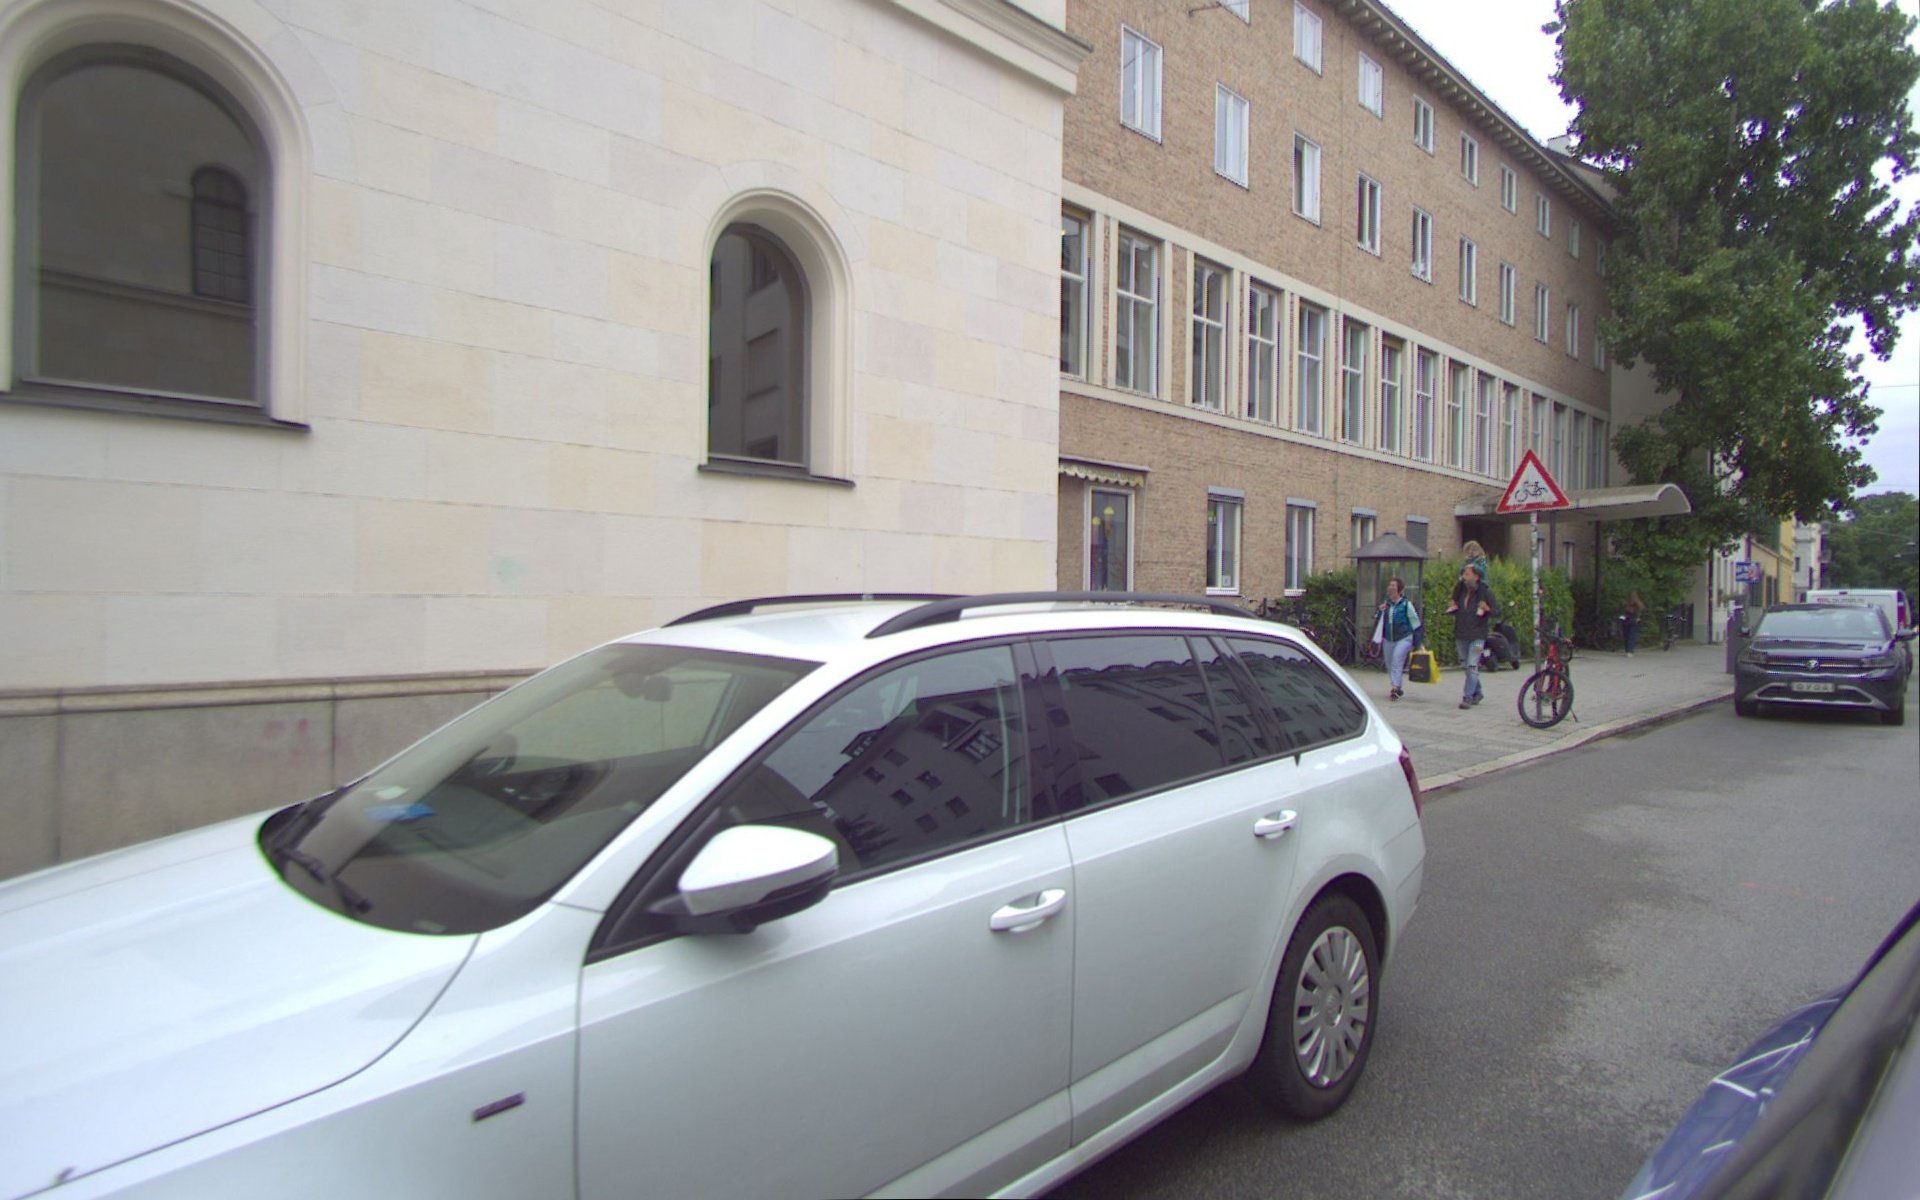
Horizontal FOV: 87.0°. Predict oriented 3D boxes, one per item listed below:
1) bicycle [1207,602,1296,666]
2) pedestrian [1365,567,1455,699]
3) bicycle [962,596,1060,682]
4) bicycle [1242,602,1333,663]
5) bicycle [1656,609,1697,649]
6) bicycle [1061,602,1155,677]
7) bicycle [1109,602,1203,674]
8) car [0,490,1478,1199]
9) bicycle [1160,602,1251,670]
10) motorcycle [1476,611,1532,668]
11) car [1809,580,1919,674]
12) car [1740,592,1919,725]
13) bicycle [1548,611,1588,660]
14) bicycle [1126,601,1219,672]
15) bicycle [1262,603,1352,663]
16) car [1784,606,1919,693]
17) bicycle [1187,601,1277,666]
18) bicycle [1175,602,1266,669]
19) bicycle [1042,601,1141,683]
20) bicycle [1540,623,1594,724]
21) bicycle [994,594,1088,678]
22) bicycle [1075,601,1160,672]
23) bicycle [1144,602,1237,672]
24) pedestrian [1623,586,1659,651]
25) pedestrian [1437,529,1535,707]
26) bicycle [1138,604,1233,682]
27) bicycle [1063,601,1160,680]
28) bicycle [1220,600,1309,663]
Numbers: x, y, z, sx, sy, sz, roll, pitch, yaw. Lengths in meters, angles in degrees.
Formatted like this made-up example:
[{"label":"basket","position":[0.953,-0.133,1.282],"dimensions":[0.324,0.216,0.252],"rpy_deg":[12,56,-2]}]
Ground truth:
[{"label":"bicycle","position":[5.275,0.599,18.391],"dimensions":[0.342,1.055,1.634],"rpy_deg":[1,1,-38]},{"label":"pedestrian","position":[6.123,0.426,13.781],"dimensions":[0.737,1.714,0.860],"rpy_deg":[1,0,-37]},{"label":"bicycle","position":[0.667,0.504,13.753],"dimensions":[0.342,1.055,1.634],"rpy_deg":[1,1,-37]},{"label":"bicycle","position":[6.165,0.587,19.098],"dimensions":[0.343,1.055,1.631],"rpy_deg":[1,1,-44]},{"label":"bicycle","position":[20.414,0.799,28.810],"dimensions":[0.670,1.087,2.189],"rpy_deg":[1,0,43]},{"label":"bicycle","position":[2.283,0.588,15.756],"dimensions":[0.342,1.055,1.634],"rpy_deg":[1,1,-38]},{"label":"bicycle","position":[3.145,0.585,16.366],"dimensions":[0.342,1.055,1.634],"rpy_deg":[1,1,-38]},{"label":"car","position":[-0.445,0.630,2.682],"dimensions":[4.237,1.495,1.792],"rpy_deg":[1,1,-41]},{"label":"bicycle","position":[4.202,0.594,17.402],"dimensions":[0.342,1.055,1.634],"rpy_deg":[1,1,-38]},{"label":"motorcycle","position":[10.793,0.765,20.052],"dimensions":[0.488,1.067,1.893],"rpy_deg":[0,-1,43]},{"label":"car","position":[21.044,0.578,23.334],"dimensions":[1.883,1.948,4.795],"rpy_deg":[1,0,45]},{"label":"car","position":[12.374,0.715,14.288],"dimensions":[1.747,1.614,3.893],"rpy_deg":[0,0,44]},{"label":"bicycle","position":[13.828,0.791,22.994],"dimensions":[1.463,1.067,0.422],"rpy_deg":[1,-1,-44]},{"label":"bicycle","position":[3.482,0.581,16.674],"dimensions":[0.342,1.055,1.634],"rpy_deg":[1,1,-38]},{"label":"bicycle","position":[6.640,0.608,19.414],"dimensions":[1.630,1.055,0.343],"rpy_deg":[3,1,44]},{"label":"car","position":[16.750,0.837,18.855],"dimensions":[4.131,1.435,1.675],"rpy_deg":[1,-1,-44]},{"label":"bicycle","position":[4.833,0.583,18.060],"dimensions":[0.342,1.055,1.634],"rpy_deg":[1,1,-38]},{"label":"bicycle","position":[4.528,0.599,17.661],"dimensions":[0.342,1.055,1.634],"rpy_deg":[1,1,-38]},{"label":"bicycle","position":[1.866,0.577,14.567],"dimensions":[0.342,1.055,1.634],"rpy_deg":[1,1,-37]},{"label":"bicycle","position":[7.149,0.823,11.899],"dimensions":[0.346,1.054,1.614],"rpy_deg":[4,2,36]},{"label":"bicycle","position":[1.149,0.497,14.735],"dimensions":[0.342,1.108,1.634],"rpy_deg":[1,1,-37]},{"label":"bicycle","position":[2.532,0.562,16.382],"dimensions":[0.342,1.055,1.431],"rpy_deg":[1,1,-42]},{"label":"bicycle","position":[3.829,0.595,16.934],"dimensions":[0.342,1.055,1.634],"rpy_deg":[1,1,-38]},{"label":"pedestrian","position":[17.429,0.469,25.904],"dimensions":[0.862,1.653,0.588],"rpy_deg":[1,-1,-42]},{"label":"pedestrian","position":[6.835,0.206,13.162],"dimensions":[0.798,2.224,0.796],"rpy_deg":[1,2,-38]},{"label":"bicycle","position":[3.346,0.616,15.120],"dimensions":[0.342,1.055,1.431],"rpy_deg":[1,1,-42]},{"label":"bicycle","position":[2.231,0.579,15.084],"dimensions":[0.342,1.055,1.634],"rpy_deg":[1,1,-37]},{"label":"bicycle","position":[5.592,0.566,18.668],"dimensions":[0.342,1.055,1.634],"rpy_deg":[1,1,-38]}]
